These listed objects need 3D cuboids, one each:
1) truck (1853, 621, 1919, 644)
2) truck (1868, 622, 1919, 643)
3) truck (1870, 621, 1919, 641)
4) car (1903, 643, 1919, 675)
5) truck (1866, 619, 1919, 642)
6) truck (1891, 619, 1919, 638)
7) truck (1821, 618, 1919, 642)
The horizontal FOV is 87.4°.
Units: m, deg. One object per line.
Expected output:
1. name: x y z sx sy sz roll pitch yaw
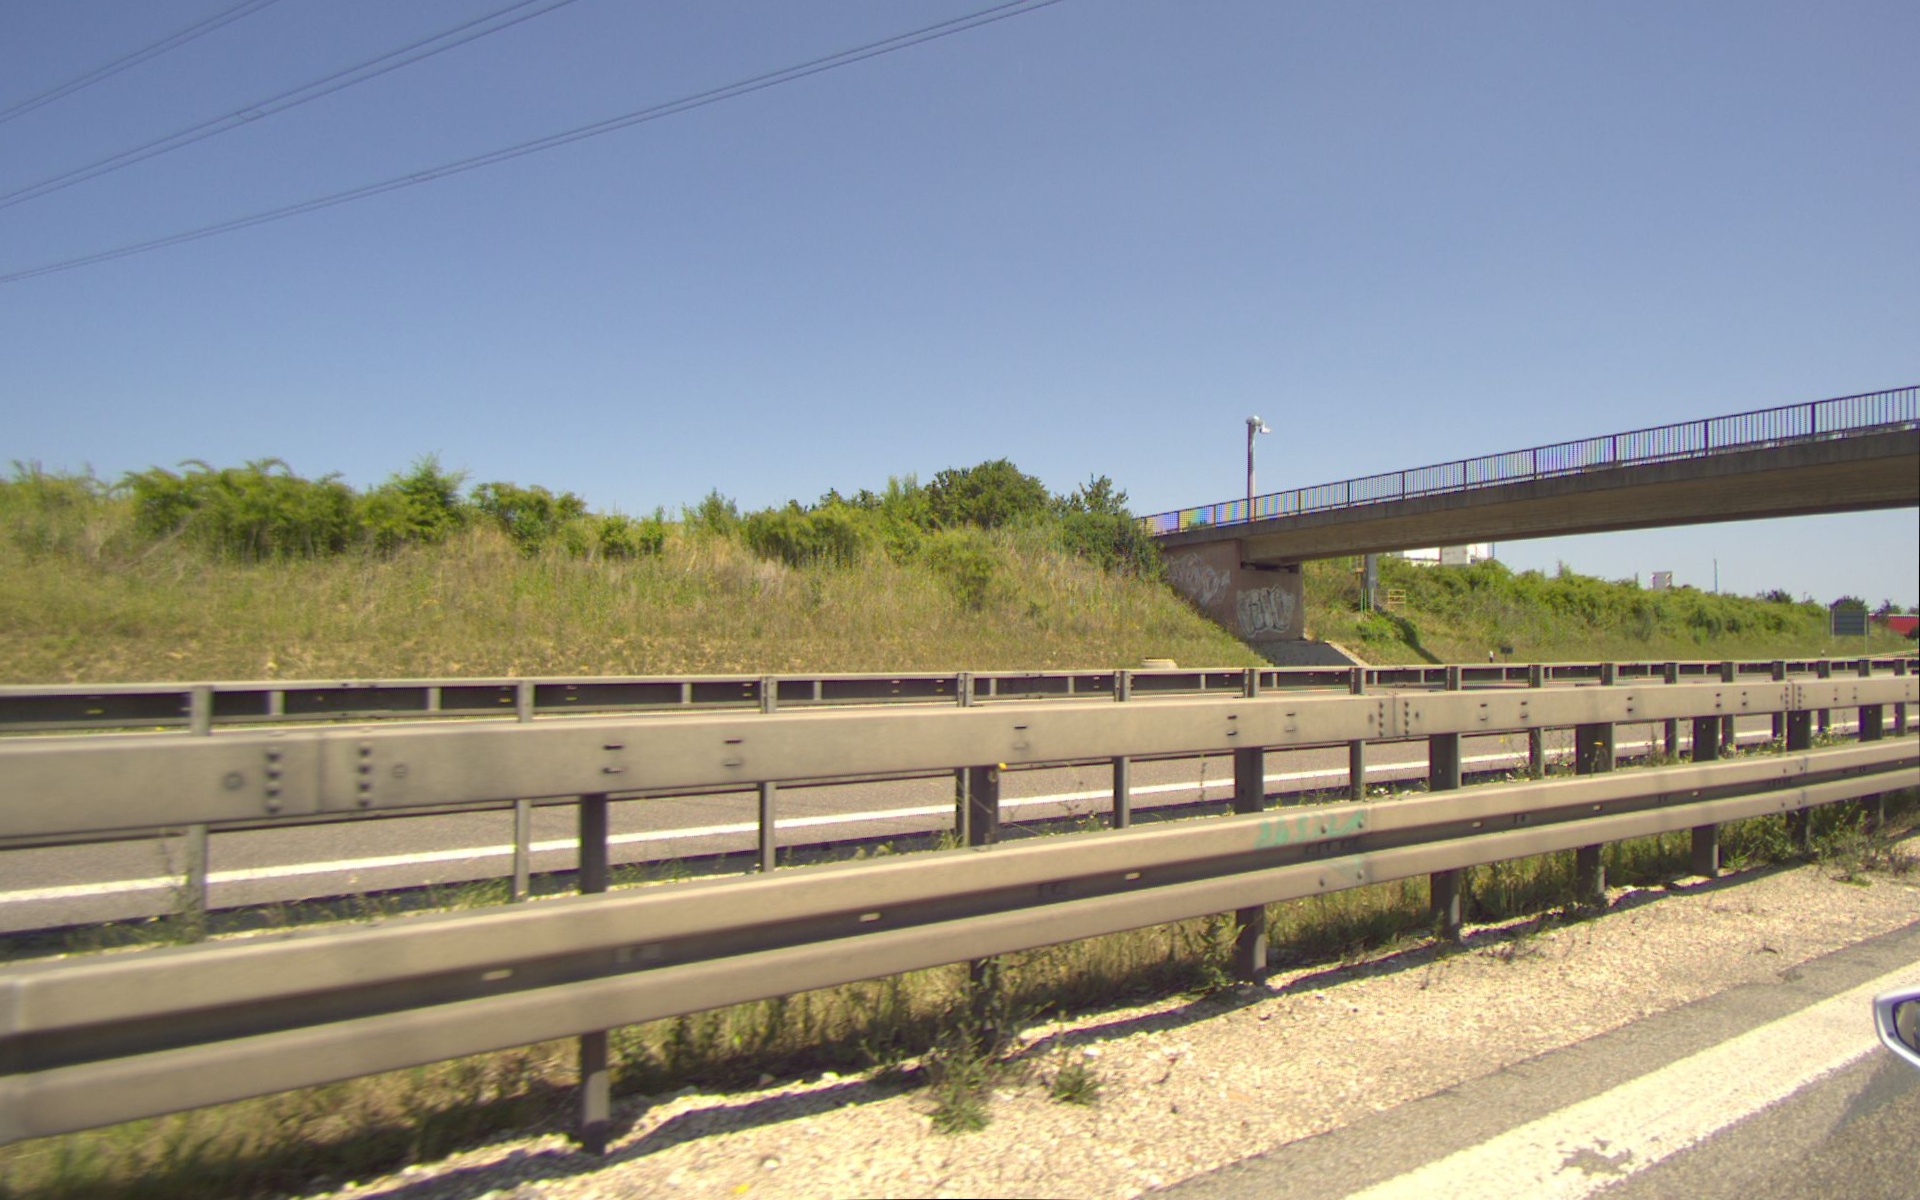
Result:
1. truck: 150.283 5.228 158.394 14.167 3.181 2.662 2 0 17
2. truck: 157.735 5.381 164.037 14.167 3.181 2.662 2 0 17
3. truck: 160.526 5.314 166.829 14.167 3.181 2.662 2 0 17
4. car: 45.018 2.720 45.756 3.953 1.417 1.984 2 0 -30
5. truck: 146.071 4.725 151.499 14.167 3.181 2.662 2 0 17
6. truck: 168.598 5.076 171.615 14.167 3.181 2.662 2 0 17
7. truck: 135.903 4.408 147.745 14.167 3.181 2.662 2 0 17
